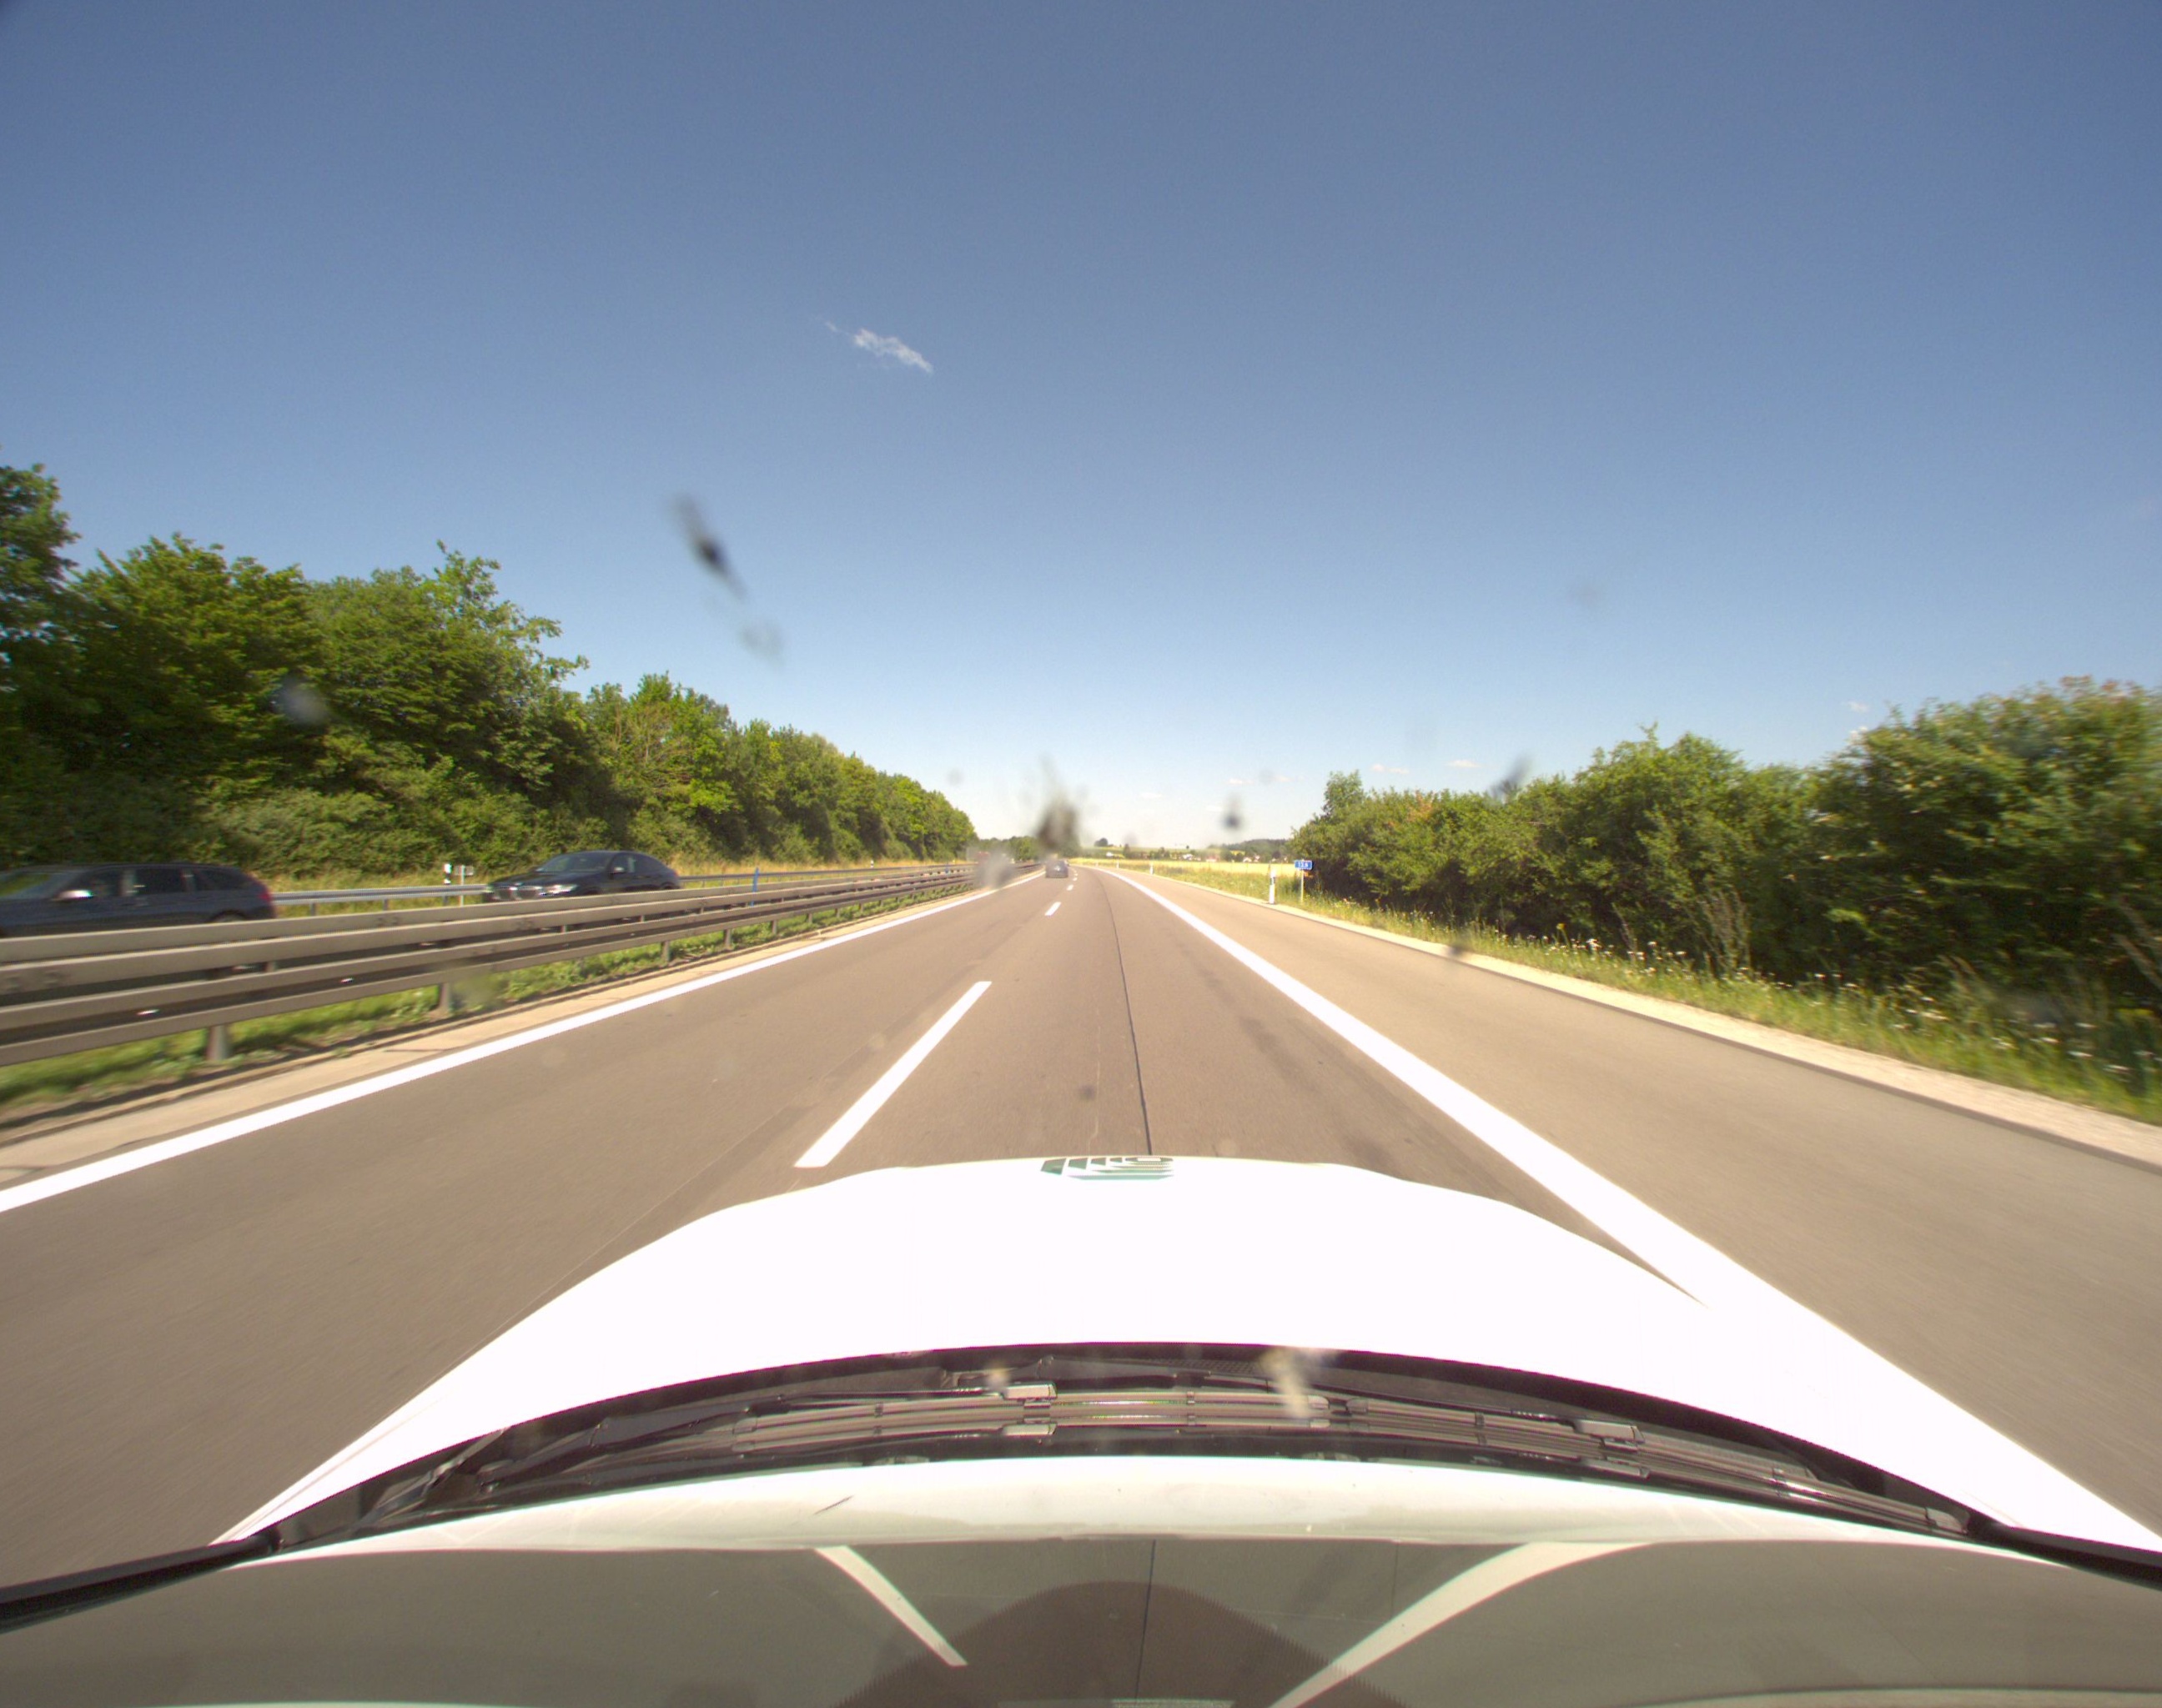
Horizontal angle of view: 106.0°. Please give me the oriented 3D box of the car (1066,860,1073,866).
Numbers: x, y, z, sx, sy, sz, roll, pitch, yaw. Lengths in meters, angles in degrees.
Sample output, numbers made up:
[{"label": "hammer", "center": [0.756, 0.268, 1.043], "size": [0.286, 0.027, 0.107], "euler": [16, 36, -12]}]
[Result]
[{"label": "car", "center": [-3.013, 2.339, 206.038], "size": [1.672, 1.453, 3.588], "euler": [0, 0, -3]}]

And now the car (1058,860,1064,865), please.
[{"label": "car", "center": [-5.749, 2.355, 237.031], "size": [1.672, 1.453, 3.588], "euler": [0, 0, -3]}]

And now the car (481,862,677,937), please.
[{"label": "car", "center": [-10.595, 0.883, 17.570], "size": [1.656, 1.422, 4.001], "euler": [0, 0, 1]}]

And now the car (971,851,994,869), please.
[{"label": "car", "center": [-14.646, 0.864, 121.582], "size": [2.536, 2.595, 6.592], "euler": [1, 0, 0]}]

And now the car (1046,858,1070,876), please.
[{"label": "car", "center": [-1.895, 1.053, 67.883], "size": [1.841, 1.432, 5.865], "euler": [0, 0, 0]}]

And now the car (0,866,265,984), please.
[{"label": "car", "center": [-14.080, 0.897, 11.172], "size": [1.656, 1.422, 4.001], "euler": [0, 0, 1]}]

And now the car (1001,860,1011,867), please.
[{"label": "car", "center": [-17.864, 2.185, 194.180], "size": [1.805, 1.555, 4.846], "euler": [0, 0, -1]}]

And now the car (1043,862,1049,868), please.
[{"label": "car", "center": [-10.289, 3.258, 241.469], "size": [1.672, 1.453, 3.589], "euler": [0, 0, -2]}]
